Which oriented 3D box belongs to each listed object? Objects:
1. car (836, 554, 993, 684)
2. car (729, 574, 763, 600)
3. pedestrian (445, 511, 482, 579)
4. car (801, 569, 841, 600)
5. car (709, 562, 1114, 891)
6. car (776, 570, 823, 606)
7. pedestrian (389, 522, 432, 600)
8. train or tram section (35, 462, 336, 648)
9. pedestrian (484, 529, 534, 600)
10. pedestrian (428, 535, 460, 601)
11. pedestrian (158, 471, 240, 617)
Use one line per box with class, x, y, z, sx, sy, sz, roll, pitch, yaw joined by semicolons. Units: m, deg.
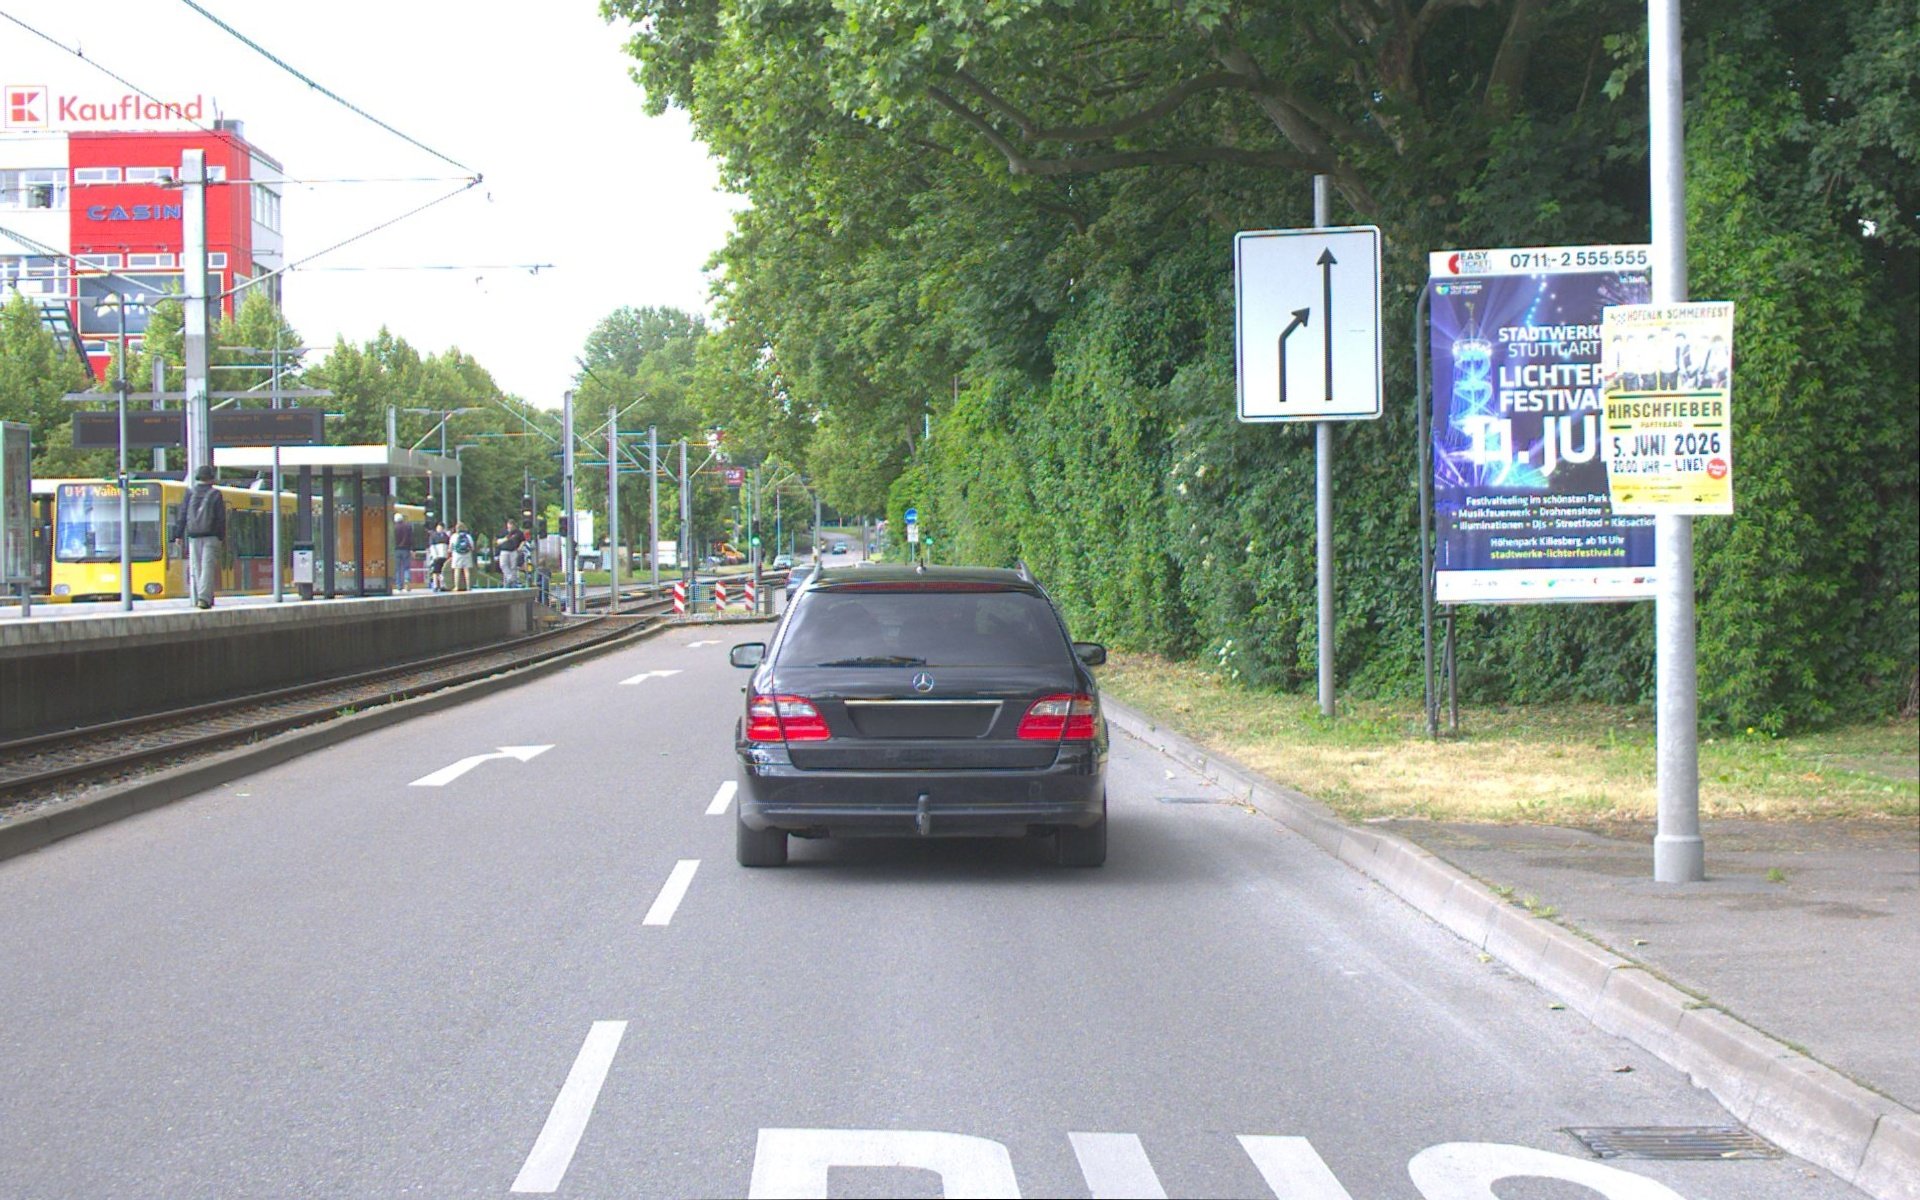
car;-0.613;0.202;42.728;1.825;1.525;4.416;0;1;-2
car;-13.029;-0.821;209.641;1.825;1.525;3.927;0;1;0
pedestrian;-11.023;-1.224;76.322;0.520;1.477;0.580;-2;0;36
car;-7.009;-0.798;173.687;1.825;1.525;3.927;0;1;0
car;-0.301;0.548;17.762;1.833;1.473;4.416;0;1;-2
car;-6.974;-0.553;149.863;1.825;1.525;4.416;-1;0;0
pedestrian;-12.003;-0.855;75.093;0.771;1.672;0.791;-2;0;-2
train or tram section;-18.076;-1.042;82.091;2.756;3.869;18.631;-1;1;0
pedestrian;-10.862;-0.859;82.790;0.745;1.672;0.874;-2;0;42
pedestrian;-11.597;-0.717;77.241;0.475;1.478;0.542;-2;0;-34
pedestrian;-9.287;-0.677;41.977;0.748;1.738;0.937;-2;0;-2
